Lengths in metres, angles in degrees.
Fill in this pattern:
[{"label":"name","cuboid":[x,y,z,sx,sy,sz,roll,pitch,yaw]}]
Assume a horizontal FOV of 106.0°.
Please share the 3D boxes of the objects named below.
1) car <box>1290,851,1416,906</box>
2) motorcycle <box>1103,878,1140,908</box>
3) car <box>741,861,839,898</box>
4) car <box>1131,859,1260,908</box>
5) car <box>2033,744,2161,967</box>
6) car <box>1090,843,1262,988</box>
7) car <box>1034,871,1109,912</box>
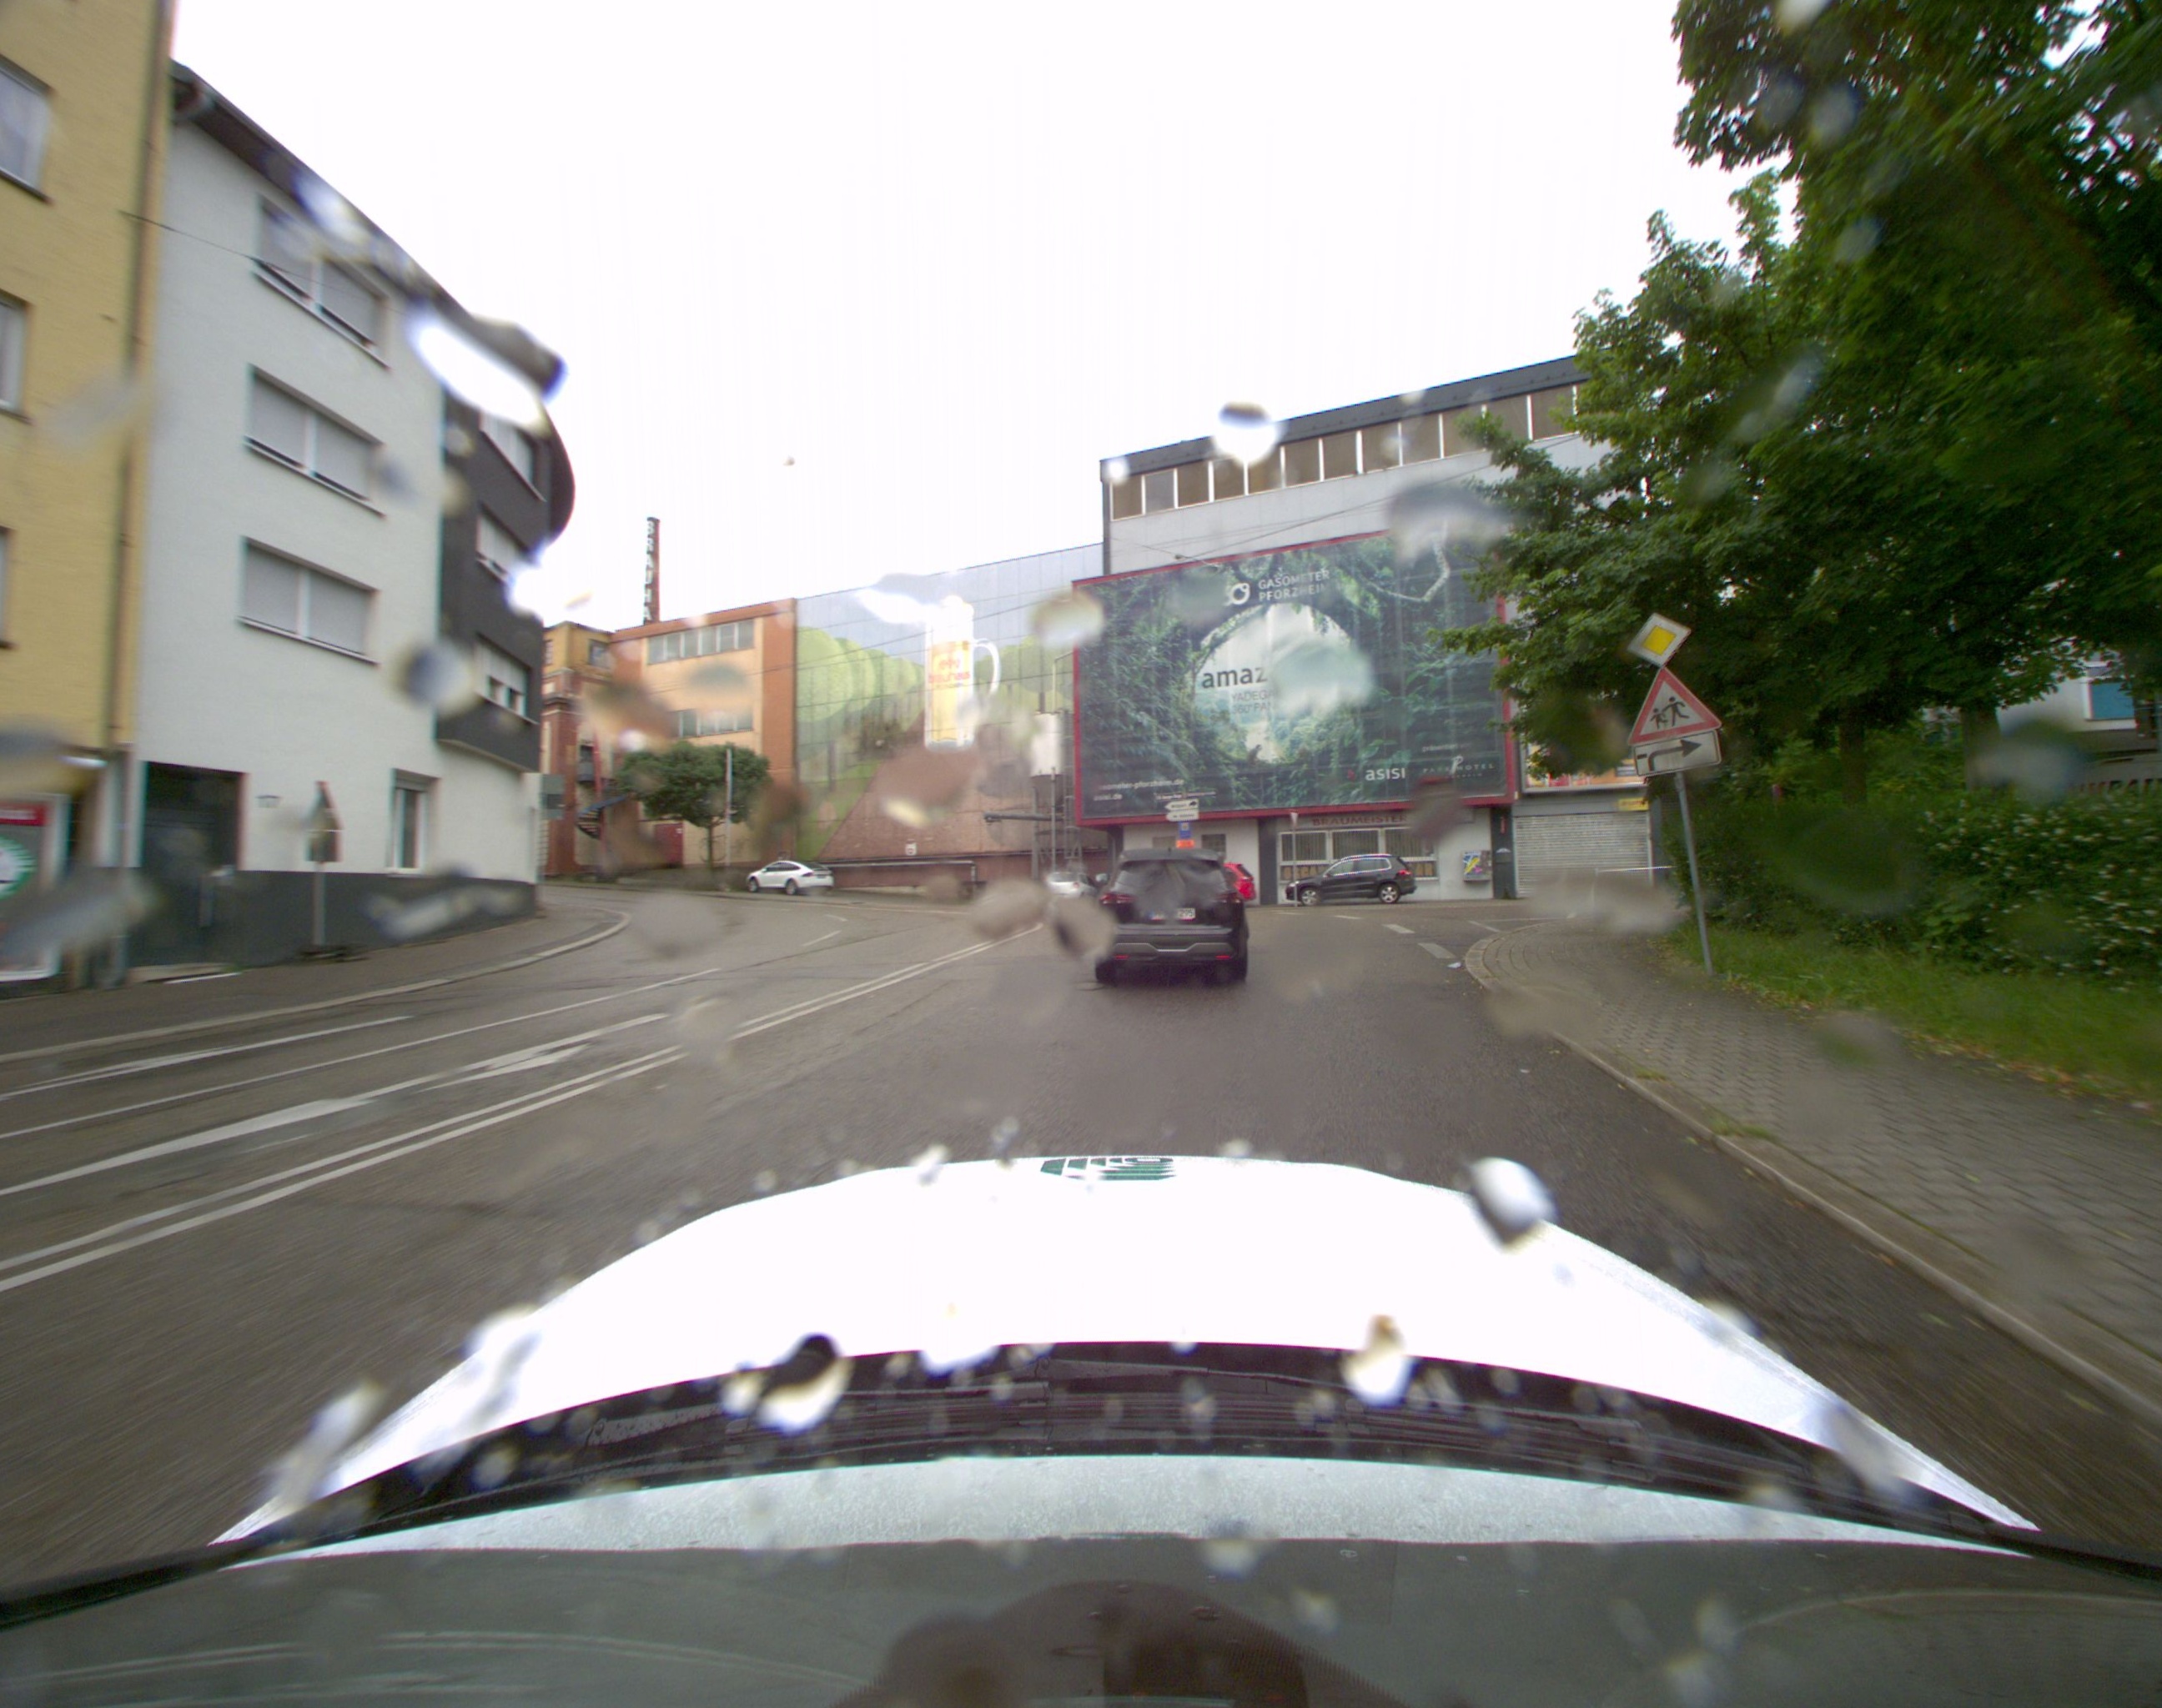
[{"label":"car","cuboid":[9.421,0.849,28.165,3.952,1.712,1.943,-3,-2,22]},{"label":"motorcycle","cuboid":[1.604,1.564,32.302,1.410,1.161,0.453,-1,-3,9]},{"label":"car","cuboid":[-14.529,1.246,40.584,4.852,1.617,1.870,2,-1,31]},{"label":"car","cuboid":[4.318,1.127,30.632,4.438,1.712,1.943,-1,-2,22]},{"label":"car","cuboid":[11.691,-0.036,7.079,4.163,1.960,1.646,-1,0,20]},{"label":"car","cuboid":[1.236,0.669,11.018,1.872,1.593,3.927,-1,1,5]},{"label":"car","cuboid":[-0.313,1.524,34.040,1.854,1.533,4.012,-1,0,19]}]
